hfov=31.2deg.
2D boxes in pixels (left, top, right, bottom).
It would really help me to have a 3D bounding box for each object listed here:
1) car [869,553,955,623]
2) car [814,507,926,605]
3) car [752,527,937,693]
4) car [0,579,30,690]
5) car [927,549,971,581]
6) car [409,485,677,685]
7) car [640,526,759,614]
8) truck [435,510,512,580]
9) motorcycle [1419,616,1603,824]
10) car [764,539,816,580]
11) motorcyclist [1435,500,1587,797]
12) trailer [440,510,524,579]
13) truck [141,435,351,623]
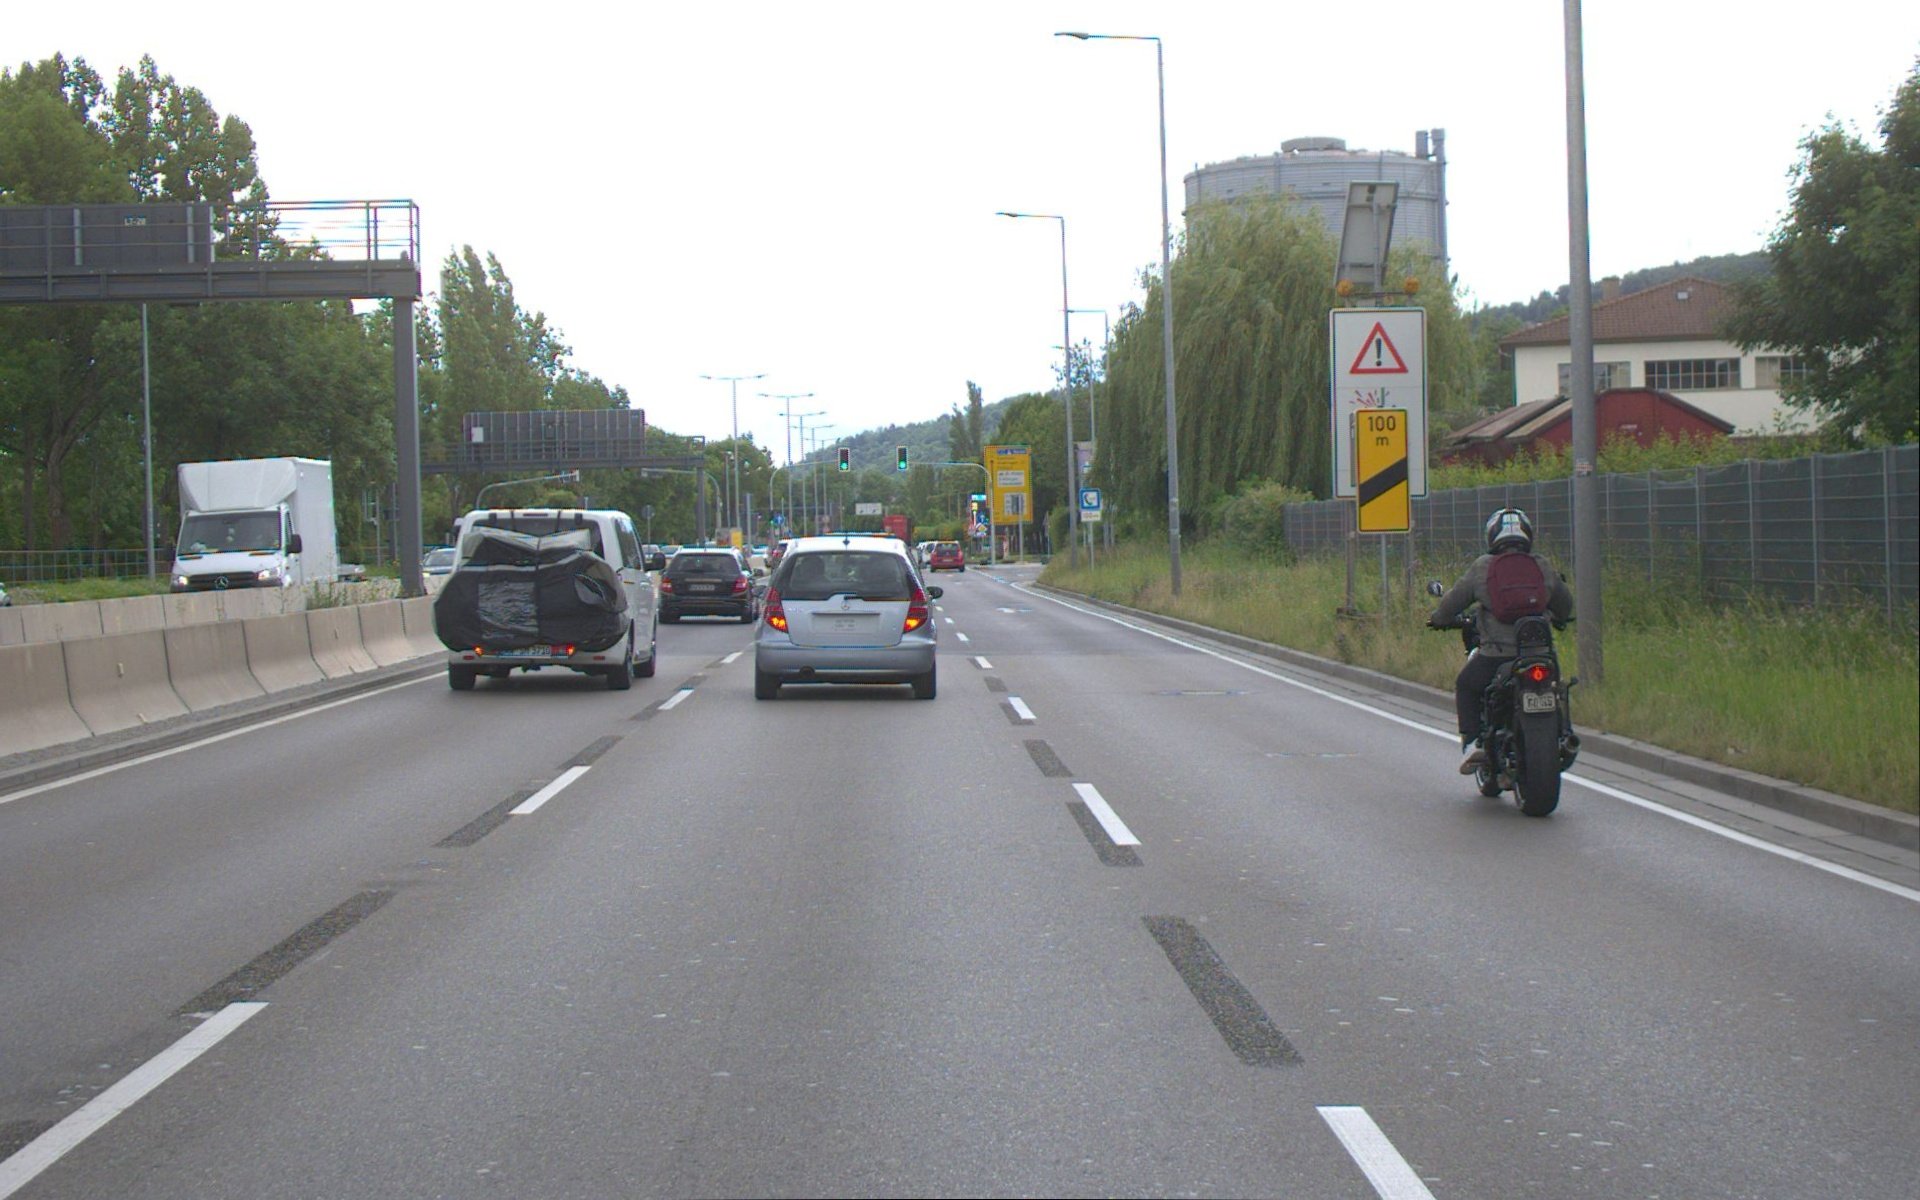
[{"bbox_3d":[-1.086,-0.294,76.844,1.840,1.459,4.000,1,1,-1],"label":"car"},{"bbox_3d":[-1.580,-0.802,61.621,1.907,1.678,4.000,1,1,-1],"label":"car"},{"bbox_3d":[-1.136,0.055,34.298,1.710,1.525,4.000,1,1,-1],"label":"car"},{"bbox_3d":[-18.621,0.628,63.241,1.993,2.007,4.000,1,1,-1],"label":"car"},{"bbox_3d":[-0.554,-1.744,170.783,1.993,1.546,4.001,1,1,-2],"label":"car"},{"bbox_3d":[-4.287,-0.199,36.164,2.214,1.919,5.002,1,1,0],"label":"car"},{"bbox_3d":[-4.839,-0.586,64.315,1.993,1.546,4.000,1,1,-1],"label":"car"},{"bbox_3d":[-22.982,-2.611,162.589,3.097,3.208,5.392,1,1,-3],"label":"truck"},{"bbox_3d":[3.045,0.637,19.164,0.706,1.036,2.027,1,1,1],"label":"motorcycle"},{"bbox_3d":[-6.717,-1.610,135.990,1.993,1.546,4.001,1,1,-2],"label":"car"},{"bbox_3d":[3.055,0.254,19.137,0.685,1.604,0.845,1,1,1],"label":"motorcyclist"},{"bbox_3d":[-23.299,-2.727,168.047,3.100,3.209,11.670,1,1,-3],"label":"trailer"},{"bbox_3d":[-12.607,-1.260,61.239,2.403,3.096,7.202,1,1,-2],"label":"truck"}]
